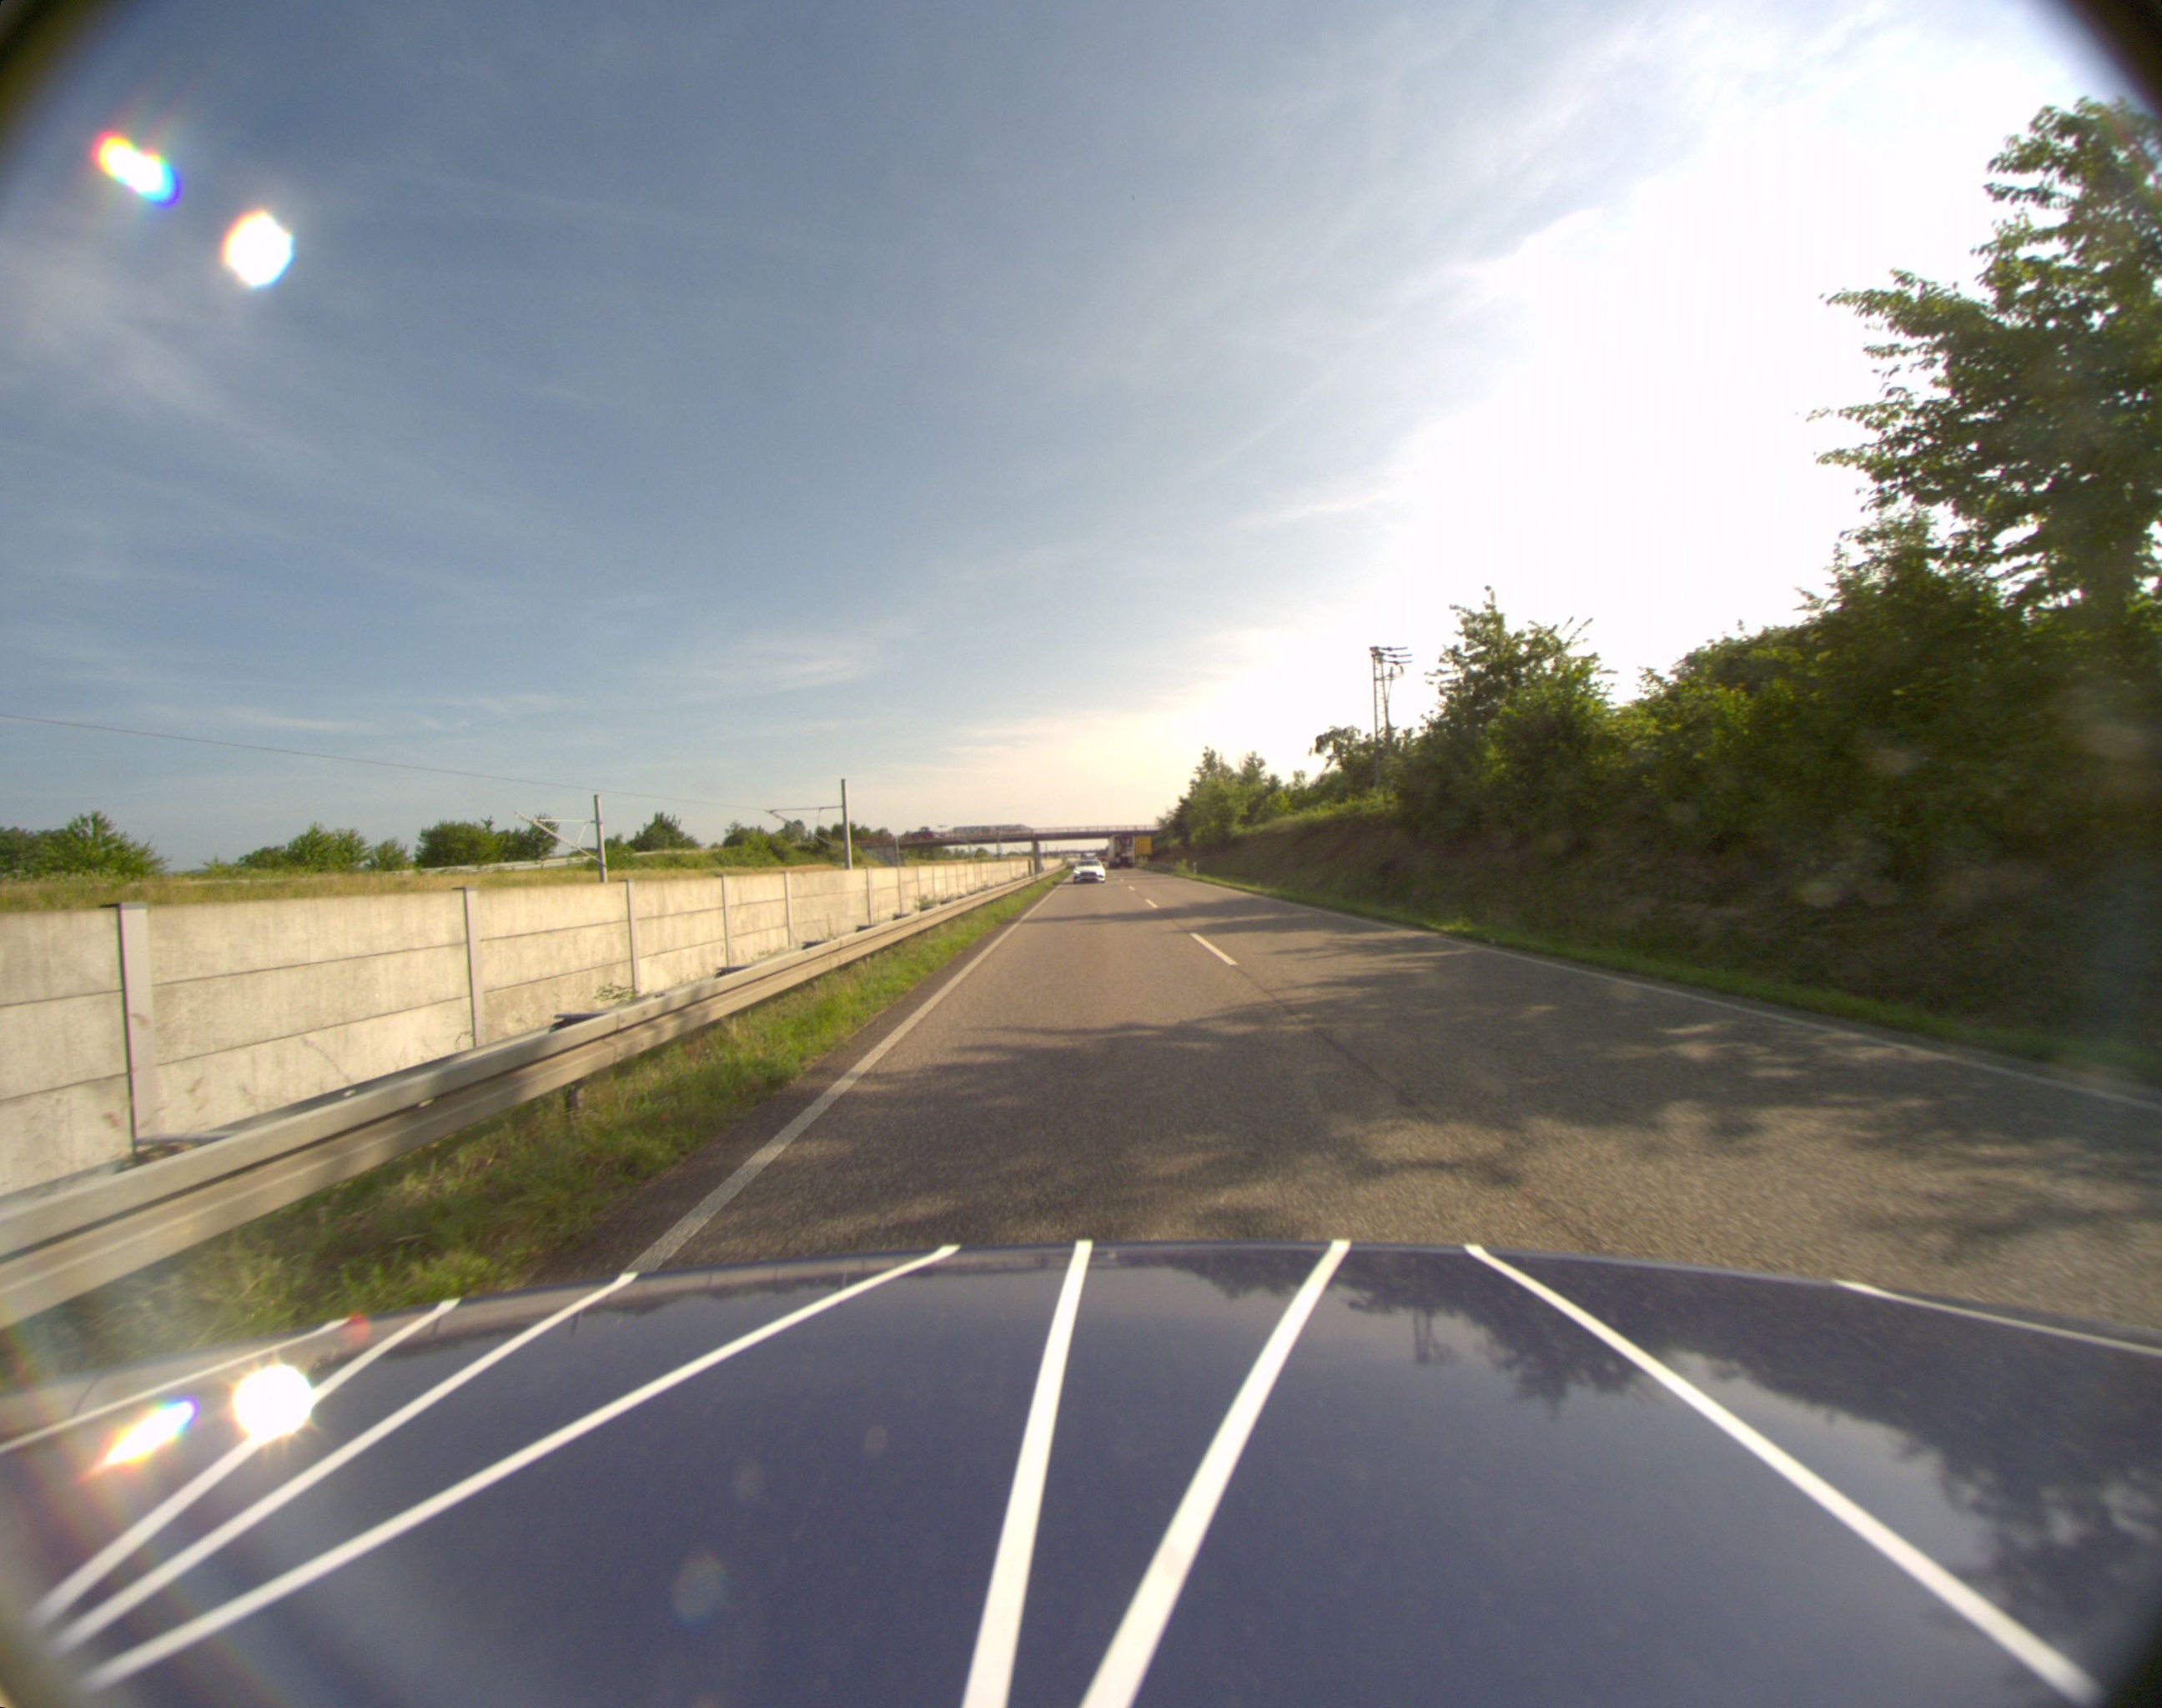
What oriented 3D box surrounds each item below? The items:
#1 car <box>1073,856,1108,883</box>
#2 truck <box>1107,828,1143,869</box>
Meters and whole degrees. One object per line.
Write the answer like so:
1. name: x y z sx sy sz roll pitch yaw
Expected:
1. car: 0.601 0.915 46.300 1.952 1.430 4.612 -2 0 1
2. truck: 5.512 -0.677 99.734 3.792 4.617 19.838 -2 0 1
